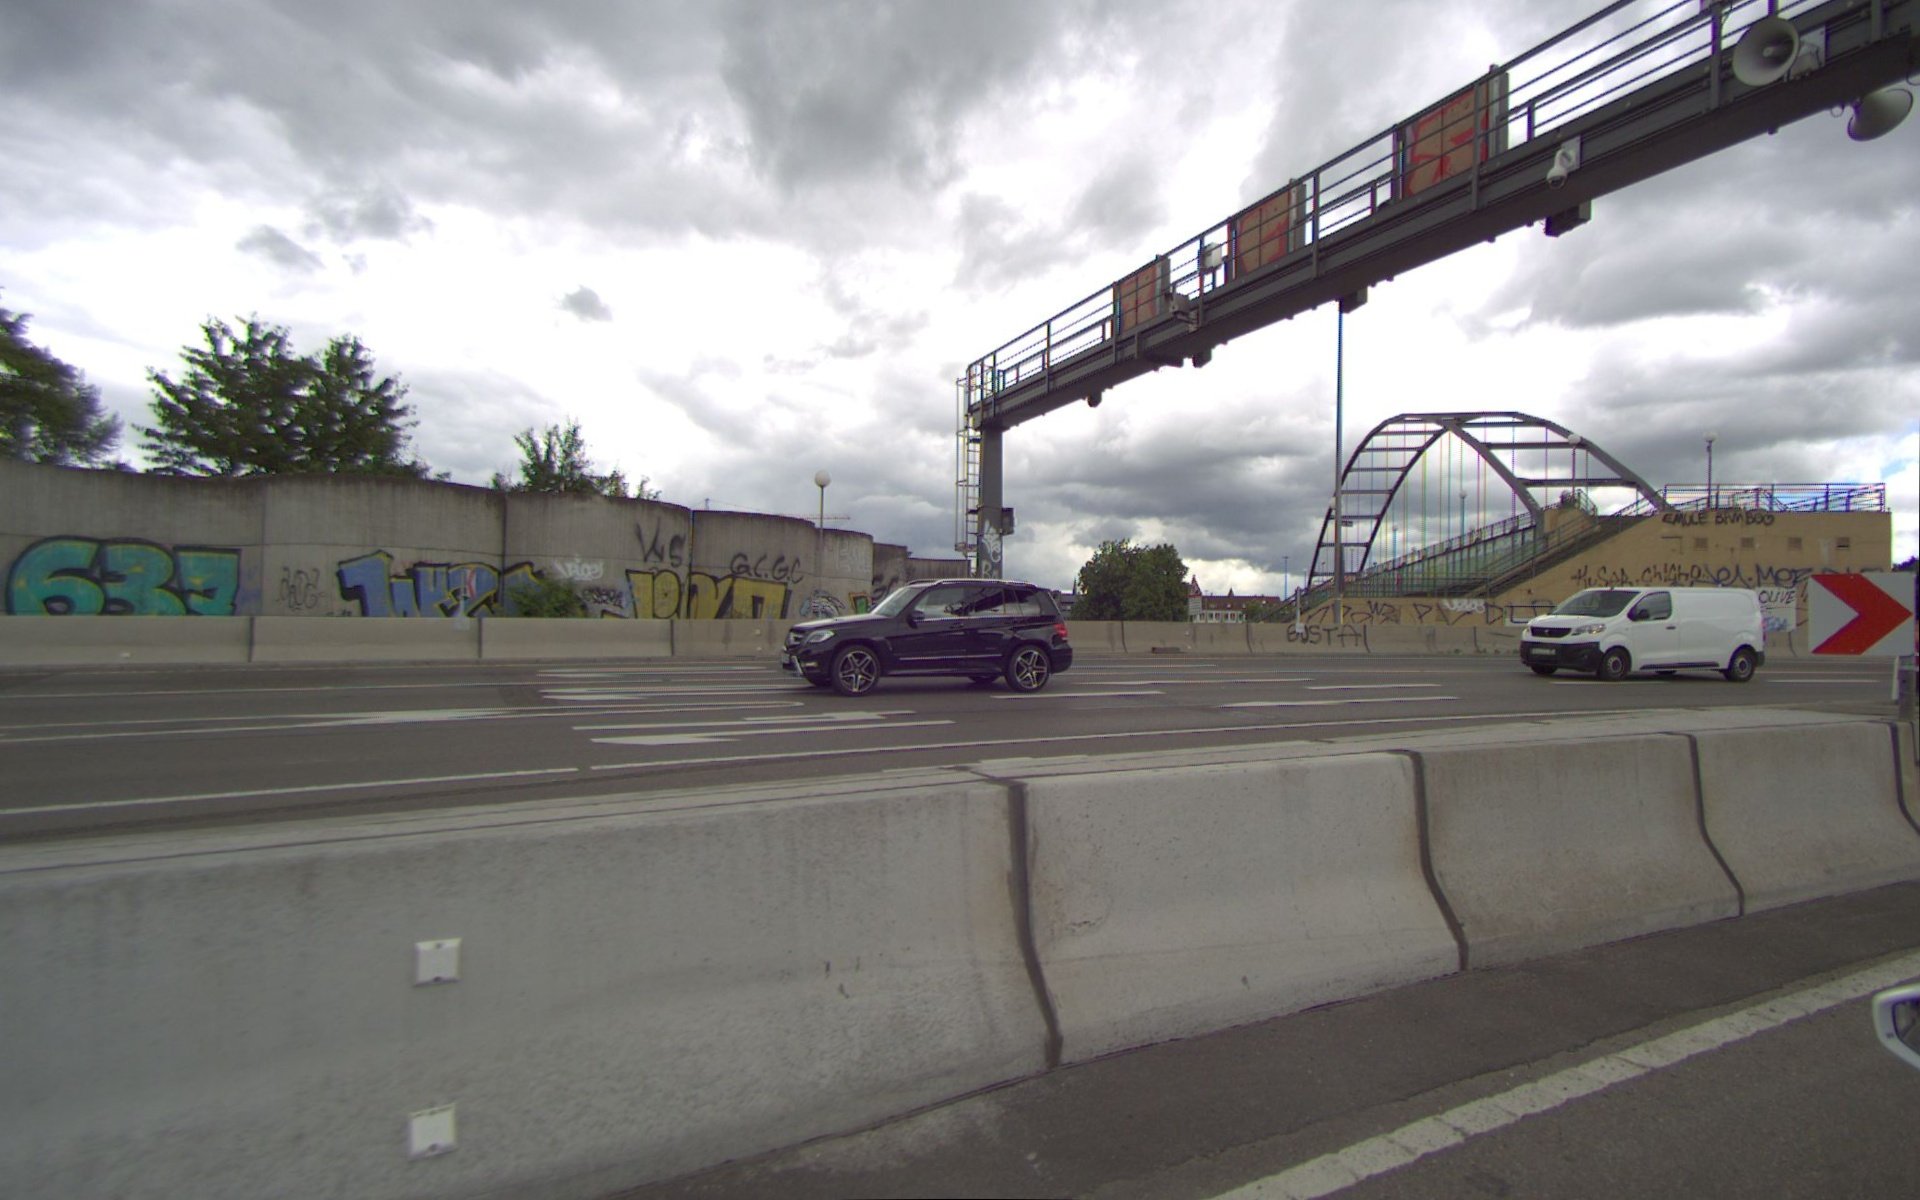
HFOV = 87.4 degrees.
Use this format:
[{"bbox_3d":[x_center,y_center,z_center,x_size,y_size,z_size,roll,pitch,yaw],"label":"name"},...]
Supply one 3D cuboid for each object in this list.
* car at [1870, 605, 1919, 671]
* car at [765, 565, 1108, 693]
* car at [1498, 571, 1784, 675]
[{"bbox_3d":[23.996,0.911,23.142,4.501,1.508,1.998,1,0,-6],"label":"car"},{"bbox_3d":[-0.356,0.431,15.340,4.857,1.718,1.989,1,0,-23],"label":"car"},{"bbox_3d":[14.179,0.499,20.987,5.020,1.977,2.237,1,0,-16],"label":"car"}]
